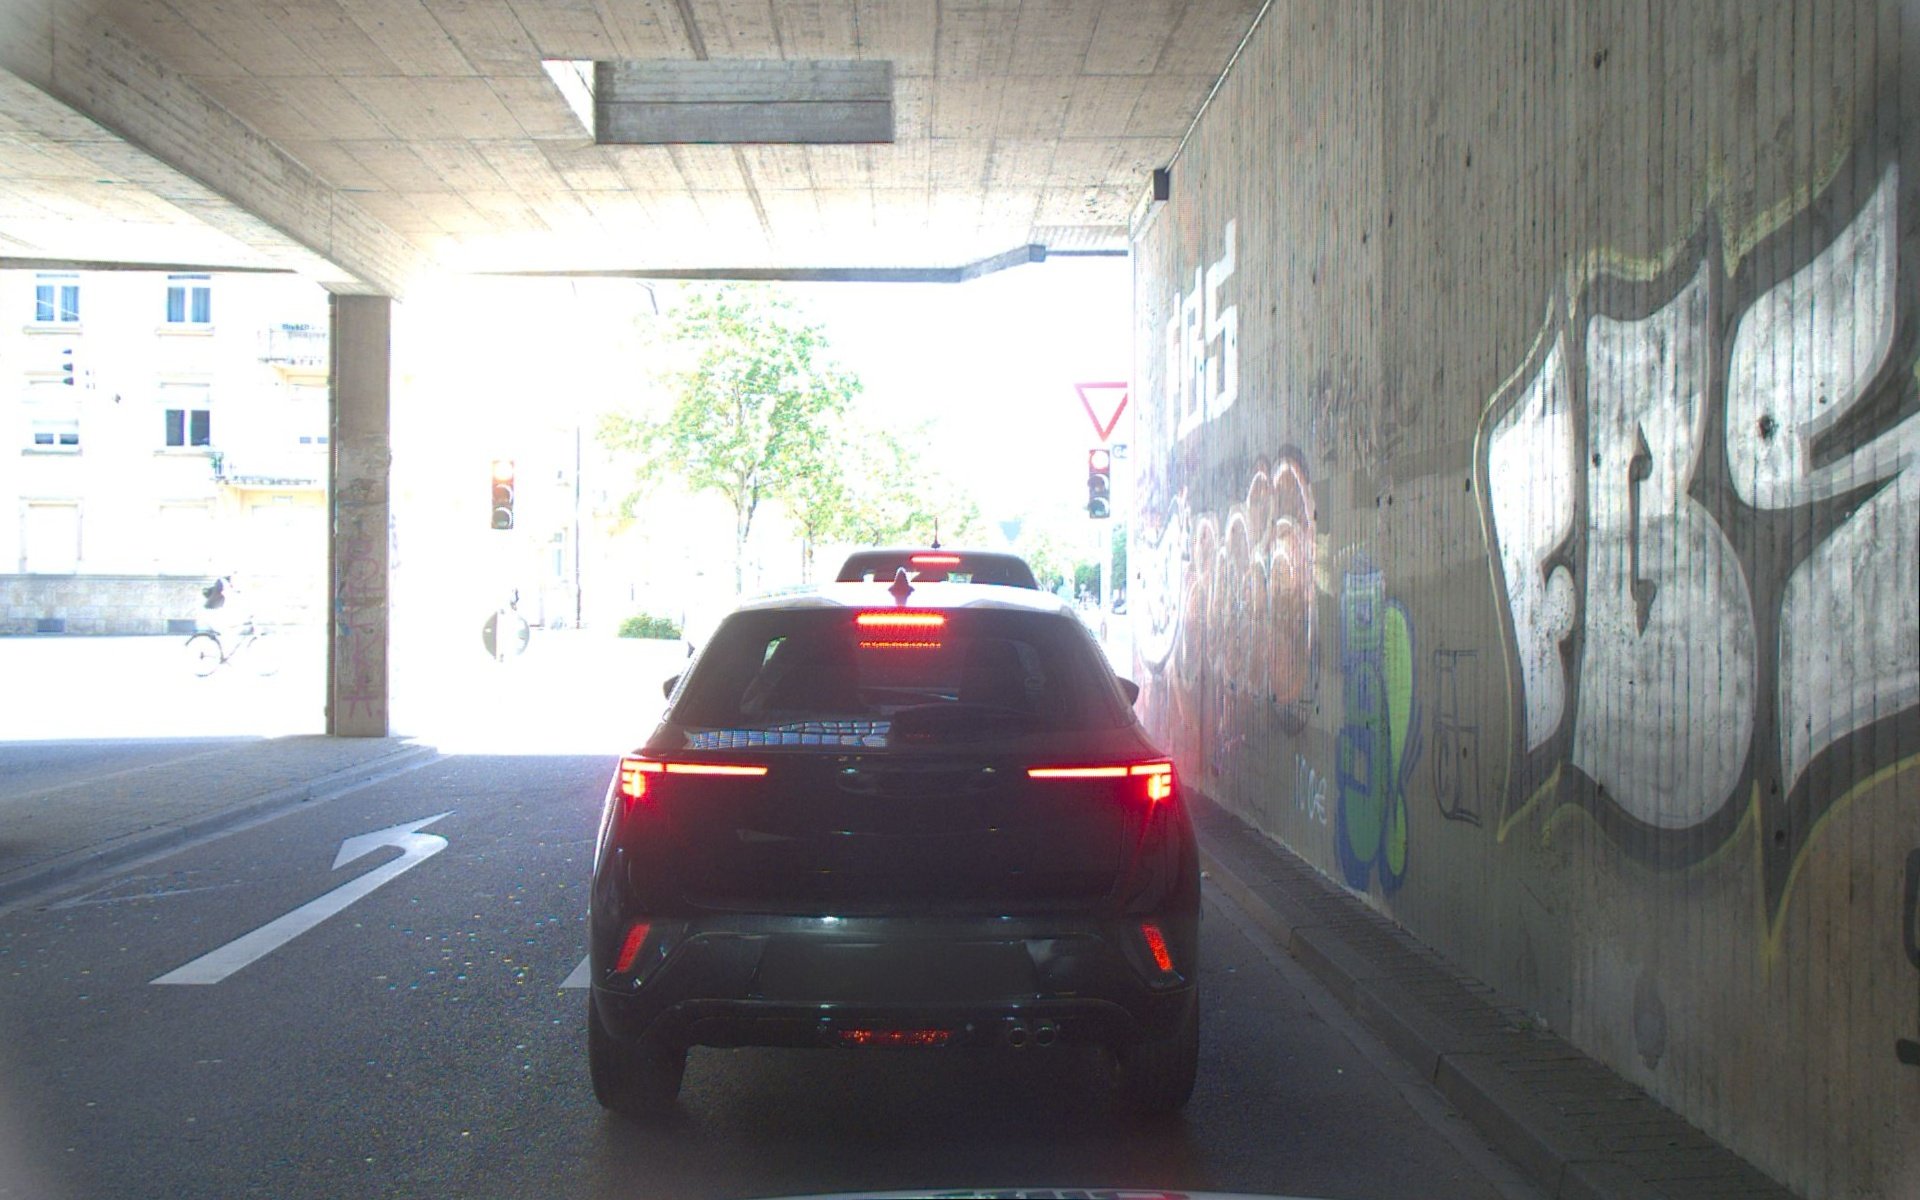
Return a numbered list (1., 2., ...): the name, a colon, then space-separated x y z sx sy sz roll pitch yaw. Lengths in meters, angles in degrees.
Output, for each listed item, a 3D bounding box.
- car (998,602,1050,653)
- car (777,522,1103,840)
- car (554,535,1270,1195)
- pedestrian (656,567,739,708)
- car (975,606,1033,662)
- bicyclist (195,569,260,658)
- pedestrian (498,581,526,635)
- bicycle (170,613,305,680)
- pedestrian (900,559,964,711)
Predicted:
1. car: 2.689 1.117 68.438 1.951 2.004 4.166 1 0 4
2. car: -0.147 0.474 11.952 1.953 1.904 3.999 0 0 -1
3. car: -0.144 0.609 6.052 1.729 1.598 4.000 1 1 -1
4. pedestrian: -3.408 0.480 21.512 0.910 1.792 0.794 1 -1 1
5. car: 1.702 1.247 62.316 1.951 2.004 4.166 1 0 4
6. bicyclist: -12.168 0.231 27.485 0.722 1.448 0.685 -1 -1 6
7. pedestrian: -13.907 0.247 51.370 0.658 1.666 0.740 1 -1 -1
8. bicycle: -11.989 0.761 27.458 1.947 1.068 0.719 -1 -1 6
9. pedestrian: -0.337 0.415 19.767 0.716 1.764 0.874 1 -1 -1
